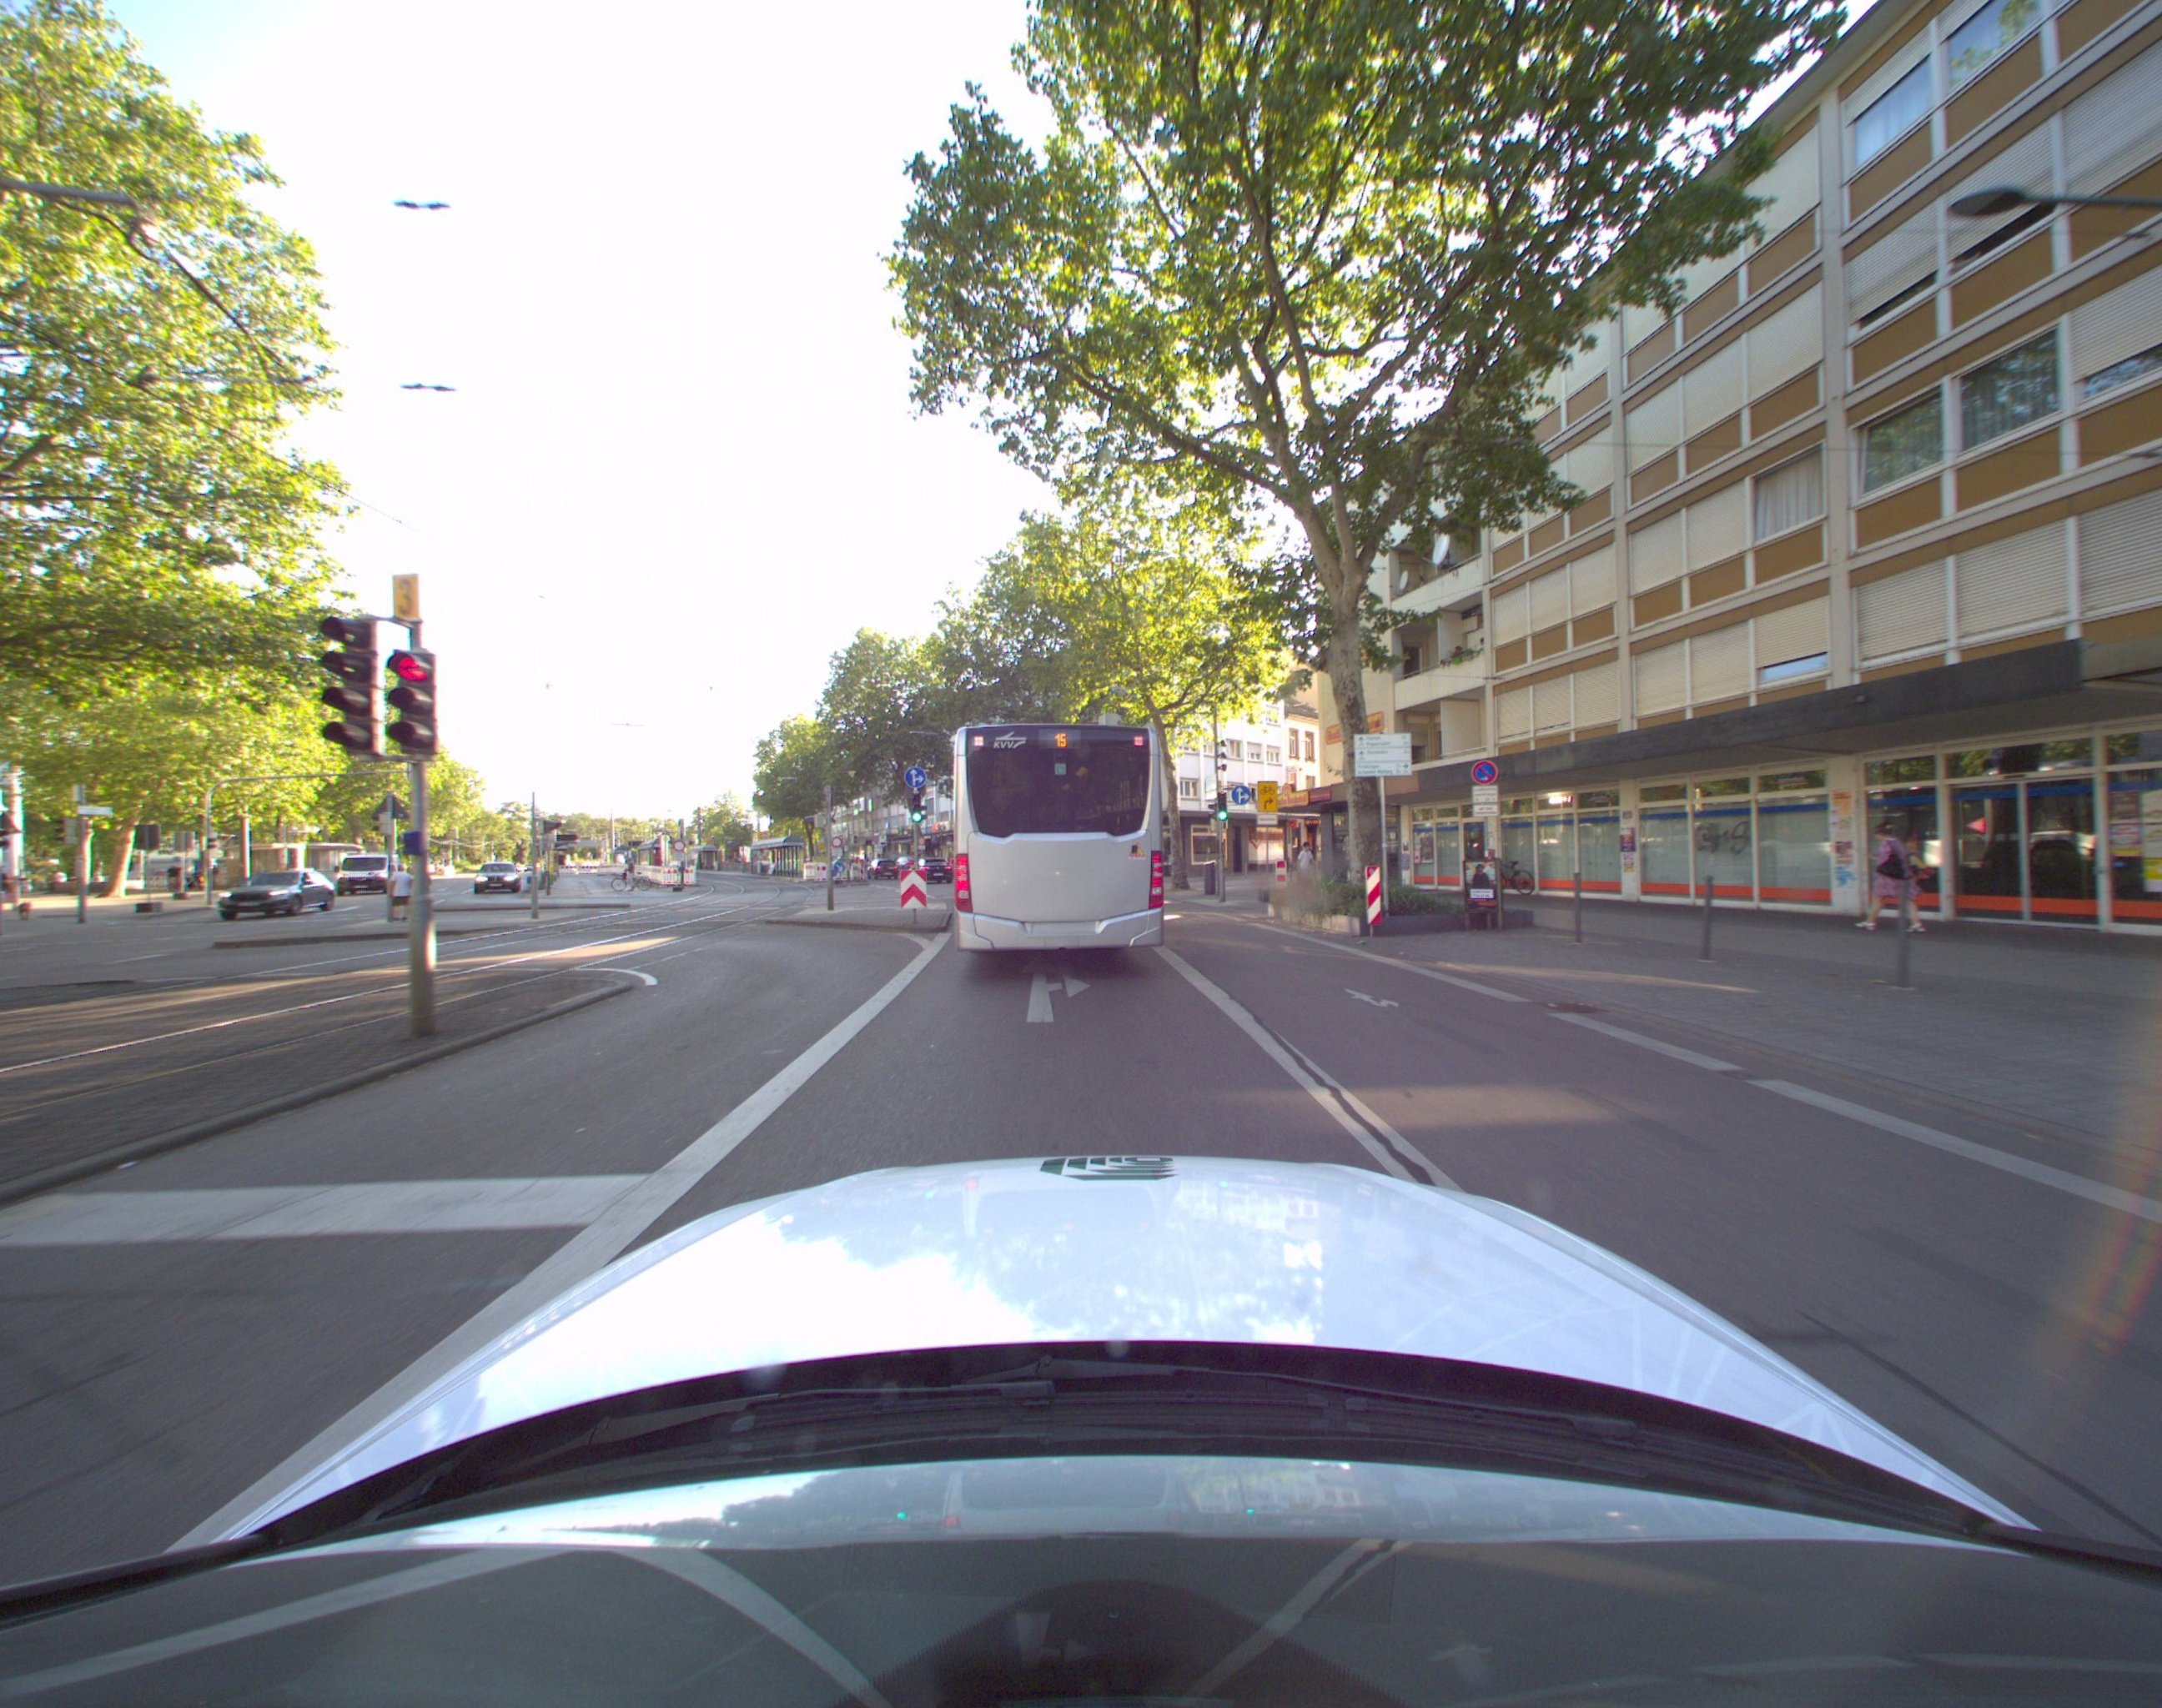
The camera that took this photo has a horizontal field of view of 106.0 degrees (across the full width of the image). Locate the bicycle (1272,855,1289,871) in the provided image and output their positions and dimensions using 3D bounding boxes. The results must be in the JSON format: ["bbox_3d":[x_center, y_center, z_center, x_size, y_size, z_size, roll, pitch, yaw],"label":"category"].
[{"bbox_3d":[13.901,0.633,56.671,0.291,1.040,1.729,-4,-3,42],"label":"bicycle"}]

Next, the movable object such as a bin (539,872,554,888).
[{"bbox_3d":[-30.496,1.483,46.492,0.675,0.866,0.695,1,0,-30],"label":"movable object such as a bin"}]

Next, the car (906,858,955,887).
[{"bbox_3d":[-8.259,0.972,44.367,1.764,1.464,3.968,-1,0,-24],"label":"car"}]

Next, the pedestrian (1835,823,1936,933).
[{"bbox_3d":[11.912,0.340,12.079,0.638,1.552,0.806,-2,0,-6],"label":"pedestrian"}]

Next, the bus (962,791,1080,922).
[{"bbox_3d":[-2.180,0.084,24.672,2.657,3.098,10.182,-1,0,-9],"label":"bus"}]

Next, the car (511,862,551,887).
[{"bbox_3d":[-36.108,1.327,53.534,1.898,1.531,4.165,-1,0,-31],"label":"car"}]

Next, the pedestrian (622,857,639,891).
[{"bbox_3d":[-23.605,1.050,42.659,0.725,1.725,0.395,-1,0,-34],"label":"pedestrian"}]

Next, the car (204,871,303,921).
[{"bbox_3d":[-27.760,1.349,27.283,4.153,1.472,1.904,-1,0,39],"label":"car"}]

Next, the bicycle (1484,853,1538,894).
[{"bbox_3d":[11.913,0.529,22.609,0.438,1.092,1.456,-4,0,-12],"label":"bicycle"}]

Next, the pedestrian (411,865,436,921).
[{"bbox_3d":[-17.971,1.064,22.267,0.410,1.504,0.513,-1,0,-26],"label":"pedestrian"}]

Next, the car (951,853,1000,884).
[{"bbox_3d":[-5.836,0.774,44.737,1.767,1.628,3.583,-1,0,-24],"label":"car"}]

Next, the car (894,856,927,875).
[{"bbox_3d":[-14.443,0.986,68.963,1.673,1.468,3.379,-5,2,-30],"label":"car"}]

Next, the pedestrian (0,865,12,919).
[{"bbox_3d":[-34.427,1.196,25.772,0.426,1.710,0.681,0,0,39],"label":"pedestrian"}]

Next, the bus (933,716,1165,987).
[{"bbox_3d":[-0.846,-0.013,14.563,2.654,3.098,10.195,-1,0,-6],"label":"bus"}]

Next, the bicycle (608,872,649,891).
[{"bbox_3d":[-23.879,1.448,43.013,1.854,0.942,0.459,-1,0,-34],"label":"bicycle"}]

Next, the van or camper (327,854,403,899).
[{"bbox_3d":[-39.167,1.187,44.681,2.181,2.319,5.054,-1,0,-30],"label":"van or camper"}]

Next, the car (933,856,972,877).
[{"bbox_3d":[-9.664,0.951,61.228,1.673,1.394,3.379,-5,2,-31],"label":"car"}]

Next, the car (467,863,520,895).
[{"bbox_3d":[-31.379,1.280,43.605,1.898,1.585,4.165,-1,0,-31],"label":"car"}]

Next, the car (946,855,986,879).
[{"bbox_3d":[-8.143,0.913,57.467,1.672,1.516,3.381,-5,2,-29],"label":"car"}]

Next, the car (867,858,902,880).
[{"bbox_3d":[-13.929,1.065,57.625,1.764,1.464,3.968,-1,0,-24],"label":"car"}]

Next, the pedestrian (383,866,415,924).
[{"bbox_3d":[-18.213,1.074,21.761,0.523,1.504,0.588,-1,0,-27],"label":"pedestrian"}]

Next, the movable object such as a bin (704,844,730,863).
[{"bbox_3d":[-50.366,-0.049,112.716,2.511,2.477,5.300,-1,0,-33],"label":"movable object such as a bin"}]

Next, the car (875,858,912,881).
[{"bbox_3d":[-12.291,0.991,53.216,1.762,1.464,3.972,-1,0,-21],"label":"car"}]

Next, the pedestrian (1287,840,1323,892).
[{"bbox_3d":[7.572,0.396,27.546,0.837,1.712,0.789,-3,1,-17],"label":"pedestrian"}]
